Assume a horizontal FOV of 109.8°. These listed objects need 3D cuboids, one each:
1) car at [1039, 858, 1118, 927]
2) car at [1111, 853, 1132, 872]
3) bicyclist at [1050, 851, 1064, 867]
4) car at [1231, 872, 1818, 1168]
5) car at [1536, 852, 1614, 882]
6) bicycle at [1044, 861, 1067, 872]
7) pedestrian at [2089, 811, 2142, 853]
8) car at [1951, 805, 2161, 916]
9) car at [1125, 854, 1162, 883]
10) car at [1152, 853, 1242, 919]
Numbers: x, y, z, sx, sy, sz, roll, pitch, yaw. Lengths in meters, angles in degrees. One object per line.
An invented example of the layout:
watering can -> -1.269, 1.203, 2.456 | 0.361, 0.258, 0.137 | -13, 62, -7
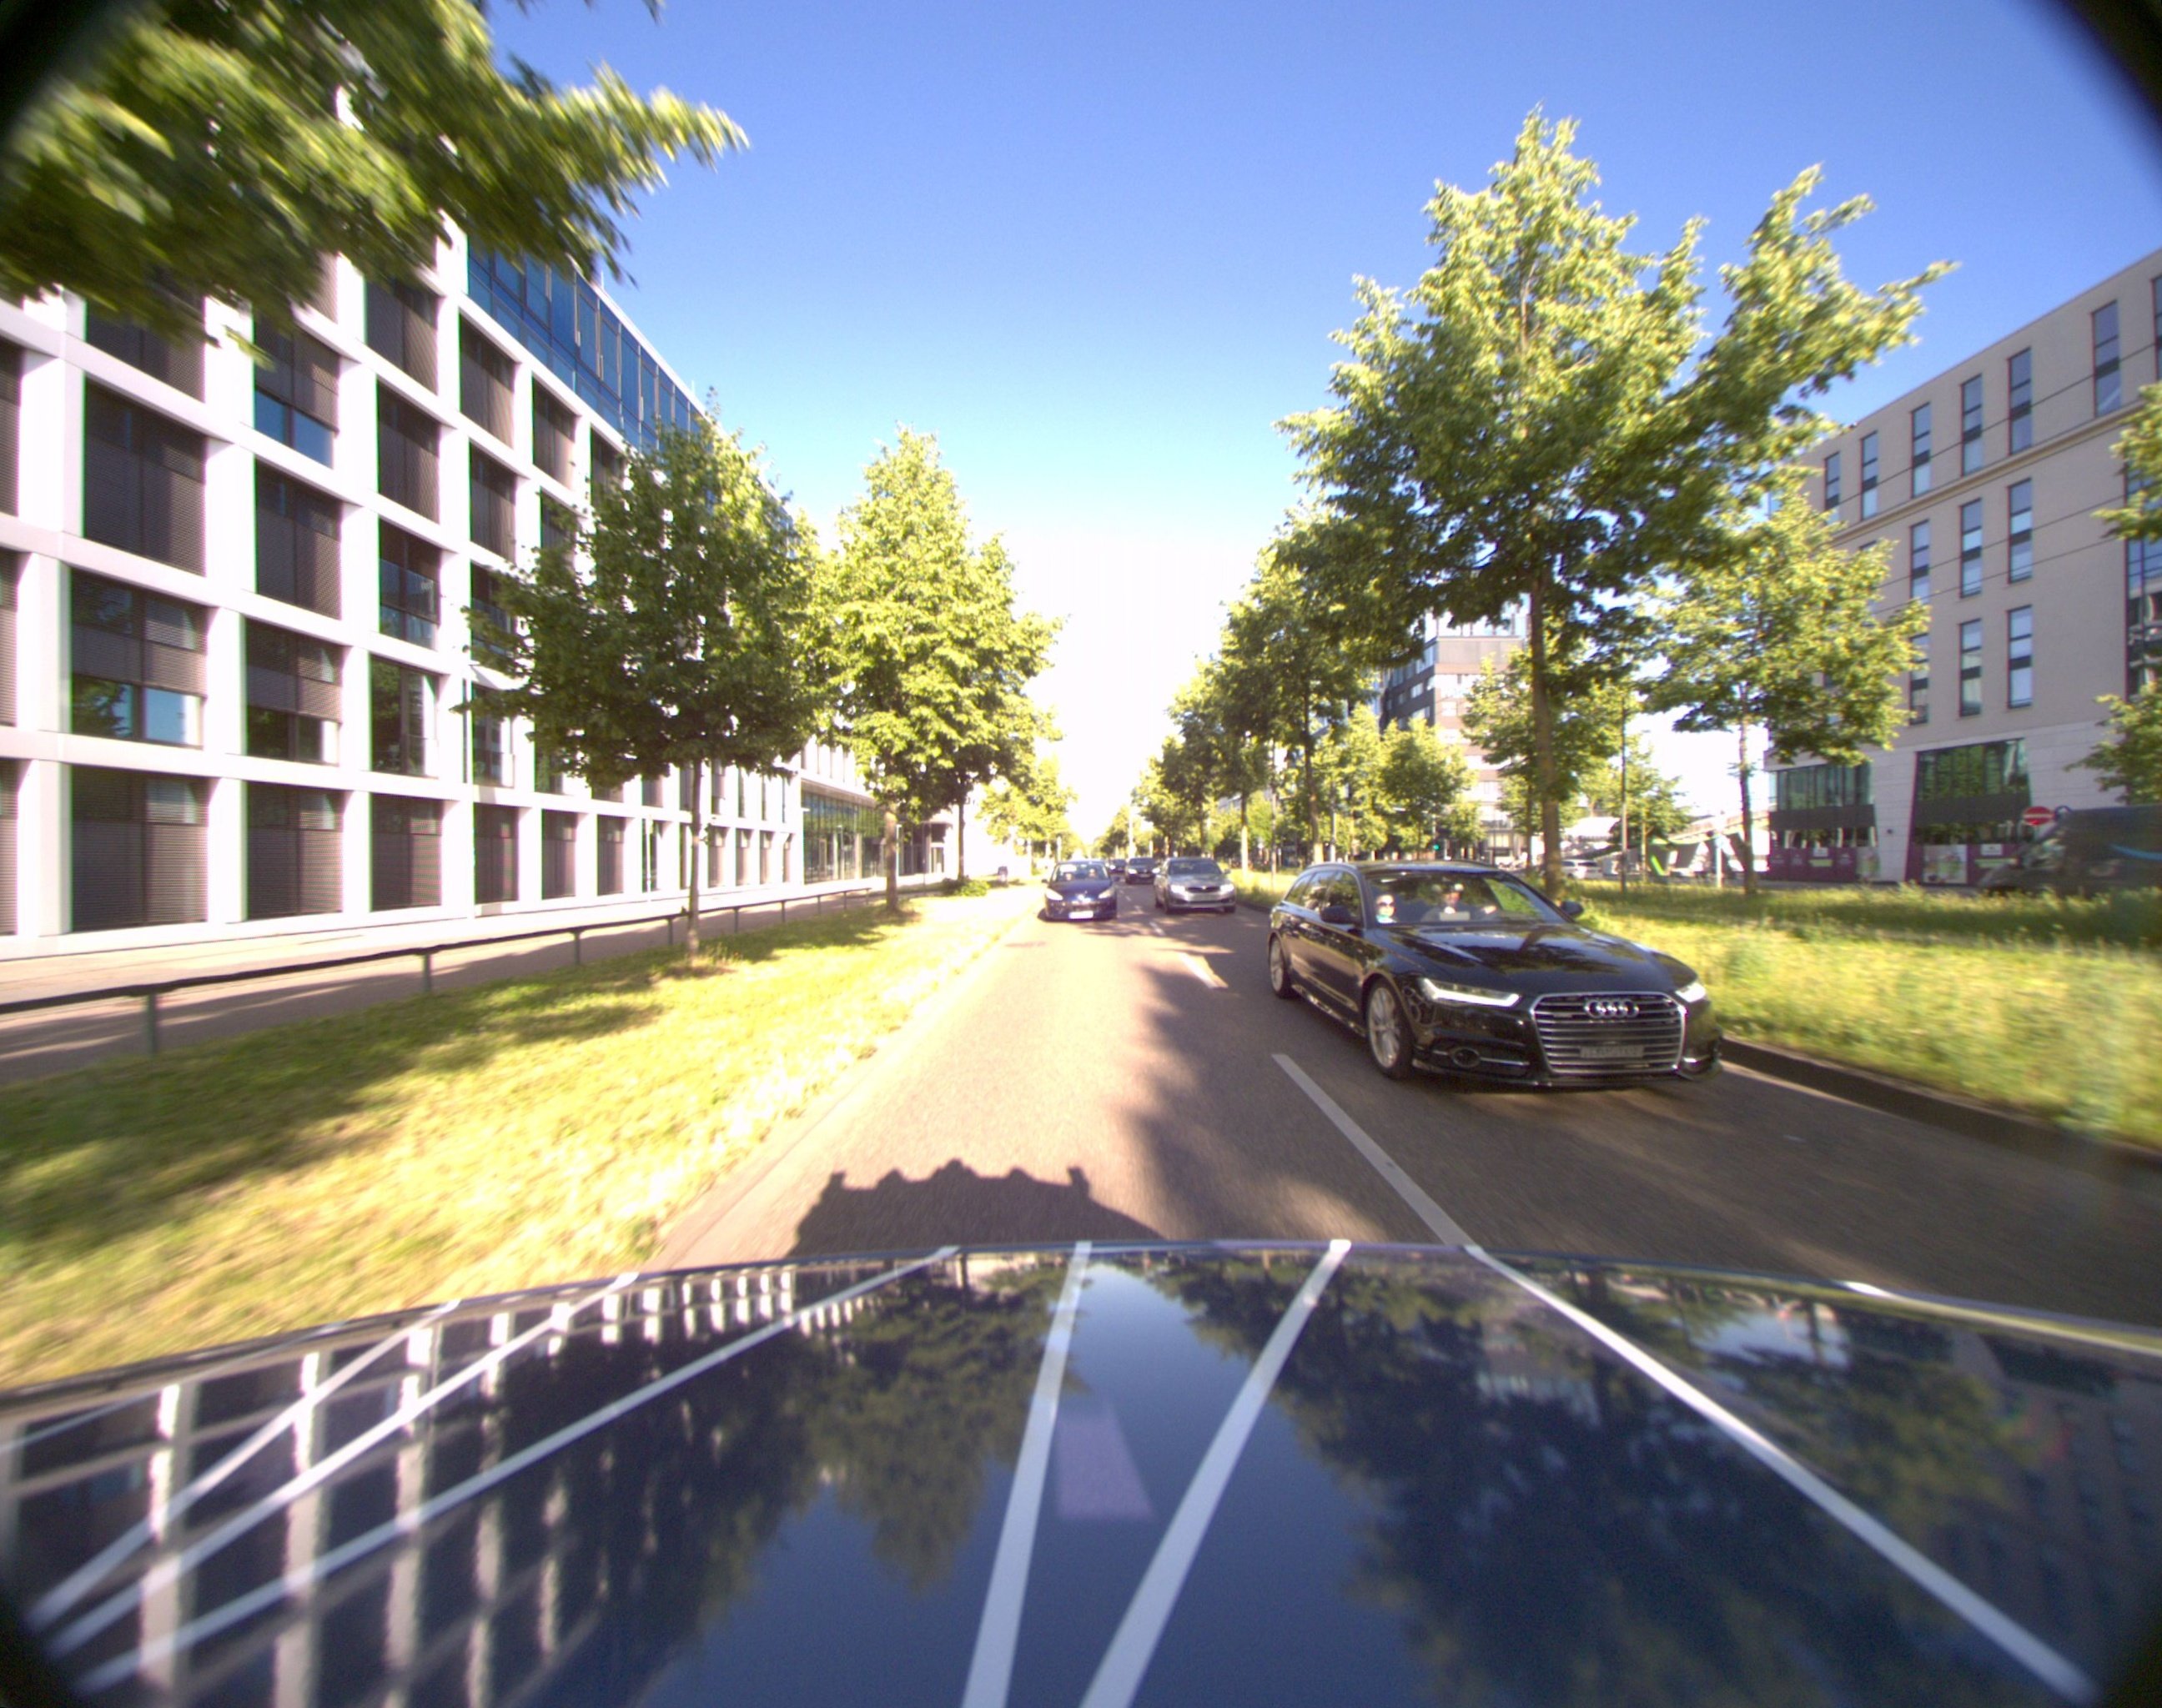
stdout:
car -> 0.027, 0.904, 19.473 | 1.766, 1.462, 4.000 | -2, 0, 2
car -> 3.639, 0.726, 69.130 | 1.782, 1.570, 3.784 | -2, 0, 1
bicyclist -> -2.026, 0.437, 63.422 | 1.086, 1.315, 0.639 | 0, 0, 4
car -> 2.801, 0.913, 6.471 | 1.958, 1.471, 5.085 | -1, -1, -1
car -> 32.181, 0.799, 49.692 | 2.106, 1.798, 4.420 | -2, 0, -1
bicycle -> -2.127, 1.074, 63.416 | 1.927, 0.899, 0.647 | 0, 0, 4
pedestrian -> 38.873, -0.818, 28.568 | 0.658, 1.528, 0.964 | -2, 1, 5
car -> 24.234, 0.091, 16.966 | 2.513, 2.367, 6.026 | -2, 0, -4
car -> 3.518, 0.783, 43.167 | 1.950, 1.513, 4.001 | -2, 0, 3
car -> 3.104, 0.790, 21.095 | 1.886, 1.569, 4.278 | -2, 0, 1
